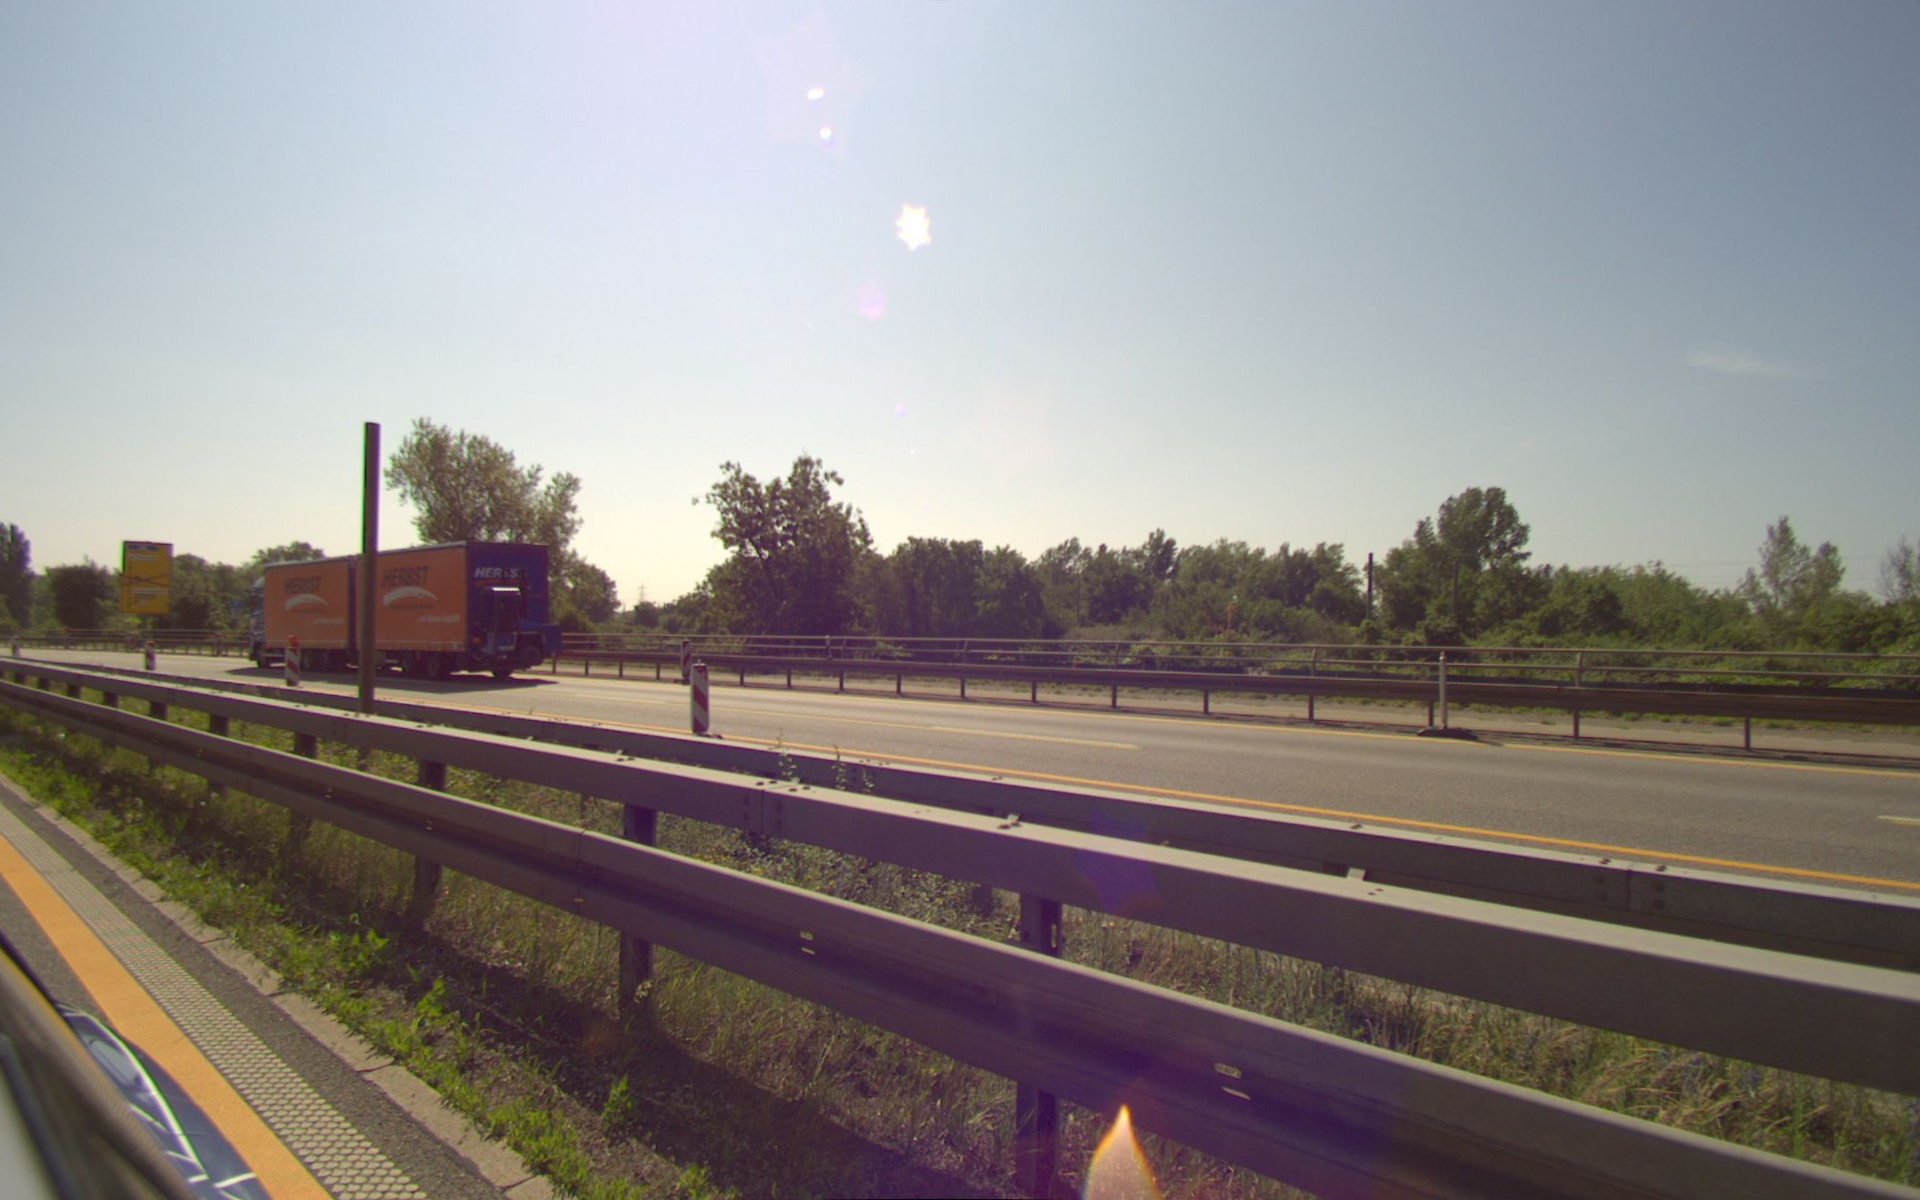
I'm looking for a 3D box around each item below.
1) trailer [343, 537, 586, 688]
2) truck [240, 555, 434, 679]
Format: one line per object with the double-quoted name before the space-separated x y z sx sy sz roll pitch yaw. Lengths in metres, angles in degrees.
"trailer" -15.843 0.455 31.897 9.776 4.122 3.008 -2 -1 39
"truck" -23.829 0.690 38.369 10.613 4.122 3.007 -2 -1 40
